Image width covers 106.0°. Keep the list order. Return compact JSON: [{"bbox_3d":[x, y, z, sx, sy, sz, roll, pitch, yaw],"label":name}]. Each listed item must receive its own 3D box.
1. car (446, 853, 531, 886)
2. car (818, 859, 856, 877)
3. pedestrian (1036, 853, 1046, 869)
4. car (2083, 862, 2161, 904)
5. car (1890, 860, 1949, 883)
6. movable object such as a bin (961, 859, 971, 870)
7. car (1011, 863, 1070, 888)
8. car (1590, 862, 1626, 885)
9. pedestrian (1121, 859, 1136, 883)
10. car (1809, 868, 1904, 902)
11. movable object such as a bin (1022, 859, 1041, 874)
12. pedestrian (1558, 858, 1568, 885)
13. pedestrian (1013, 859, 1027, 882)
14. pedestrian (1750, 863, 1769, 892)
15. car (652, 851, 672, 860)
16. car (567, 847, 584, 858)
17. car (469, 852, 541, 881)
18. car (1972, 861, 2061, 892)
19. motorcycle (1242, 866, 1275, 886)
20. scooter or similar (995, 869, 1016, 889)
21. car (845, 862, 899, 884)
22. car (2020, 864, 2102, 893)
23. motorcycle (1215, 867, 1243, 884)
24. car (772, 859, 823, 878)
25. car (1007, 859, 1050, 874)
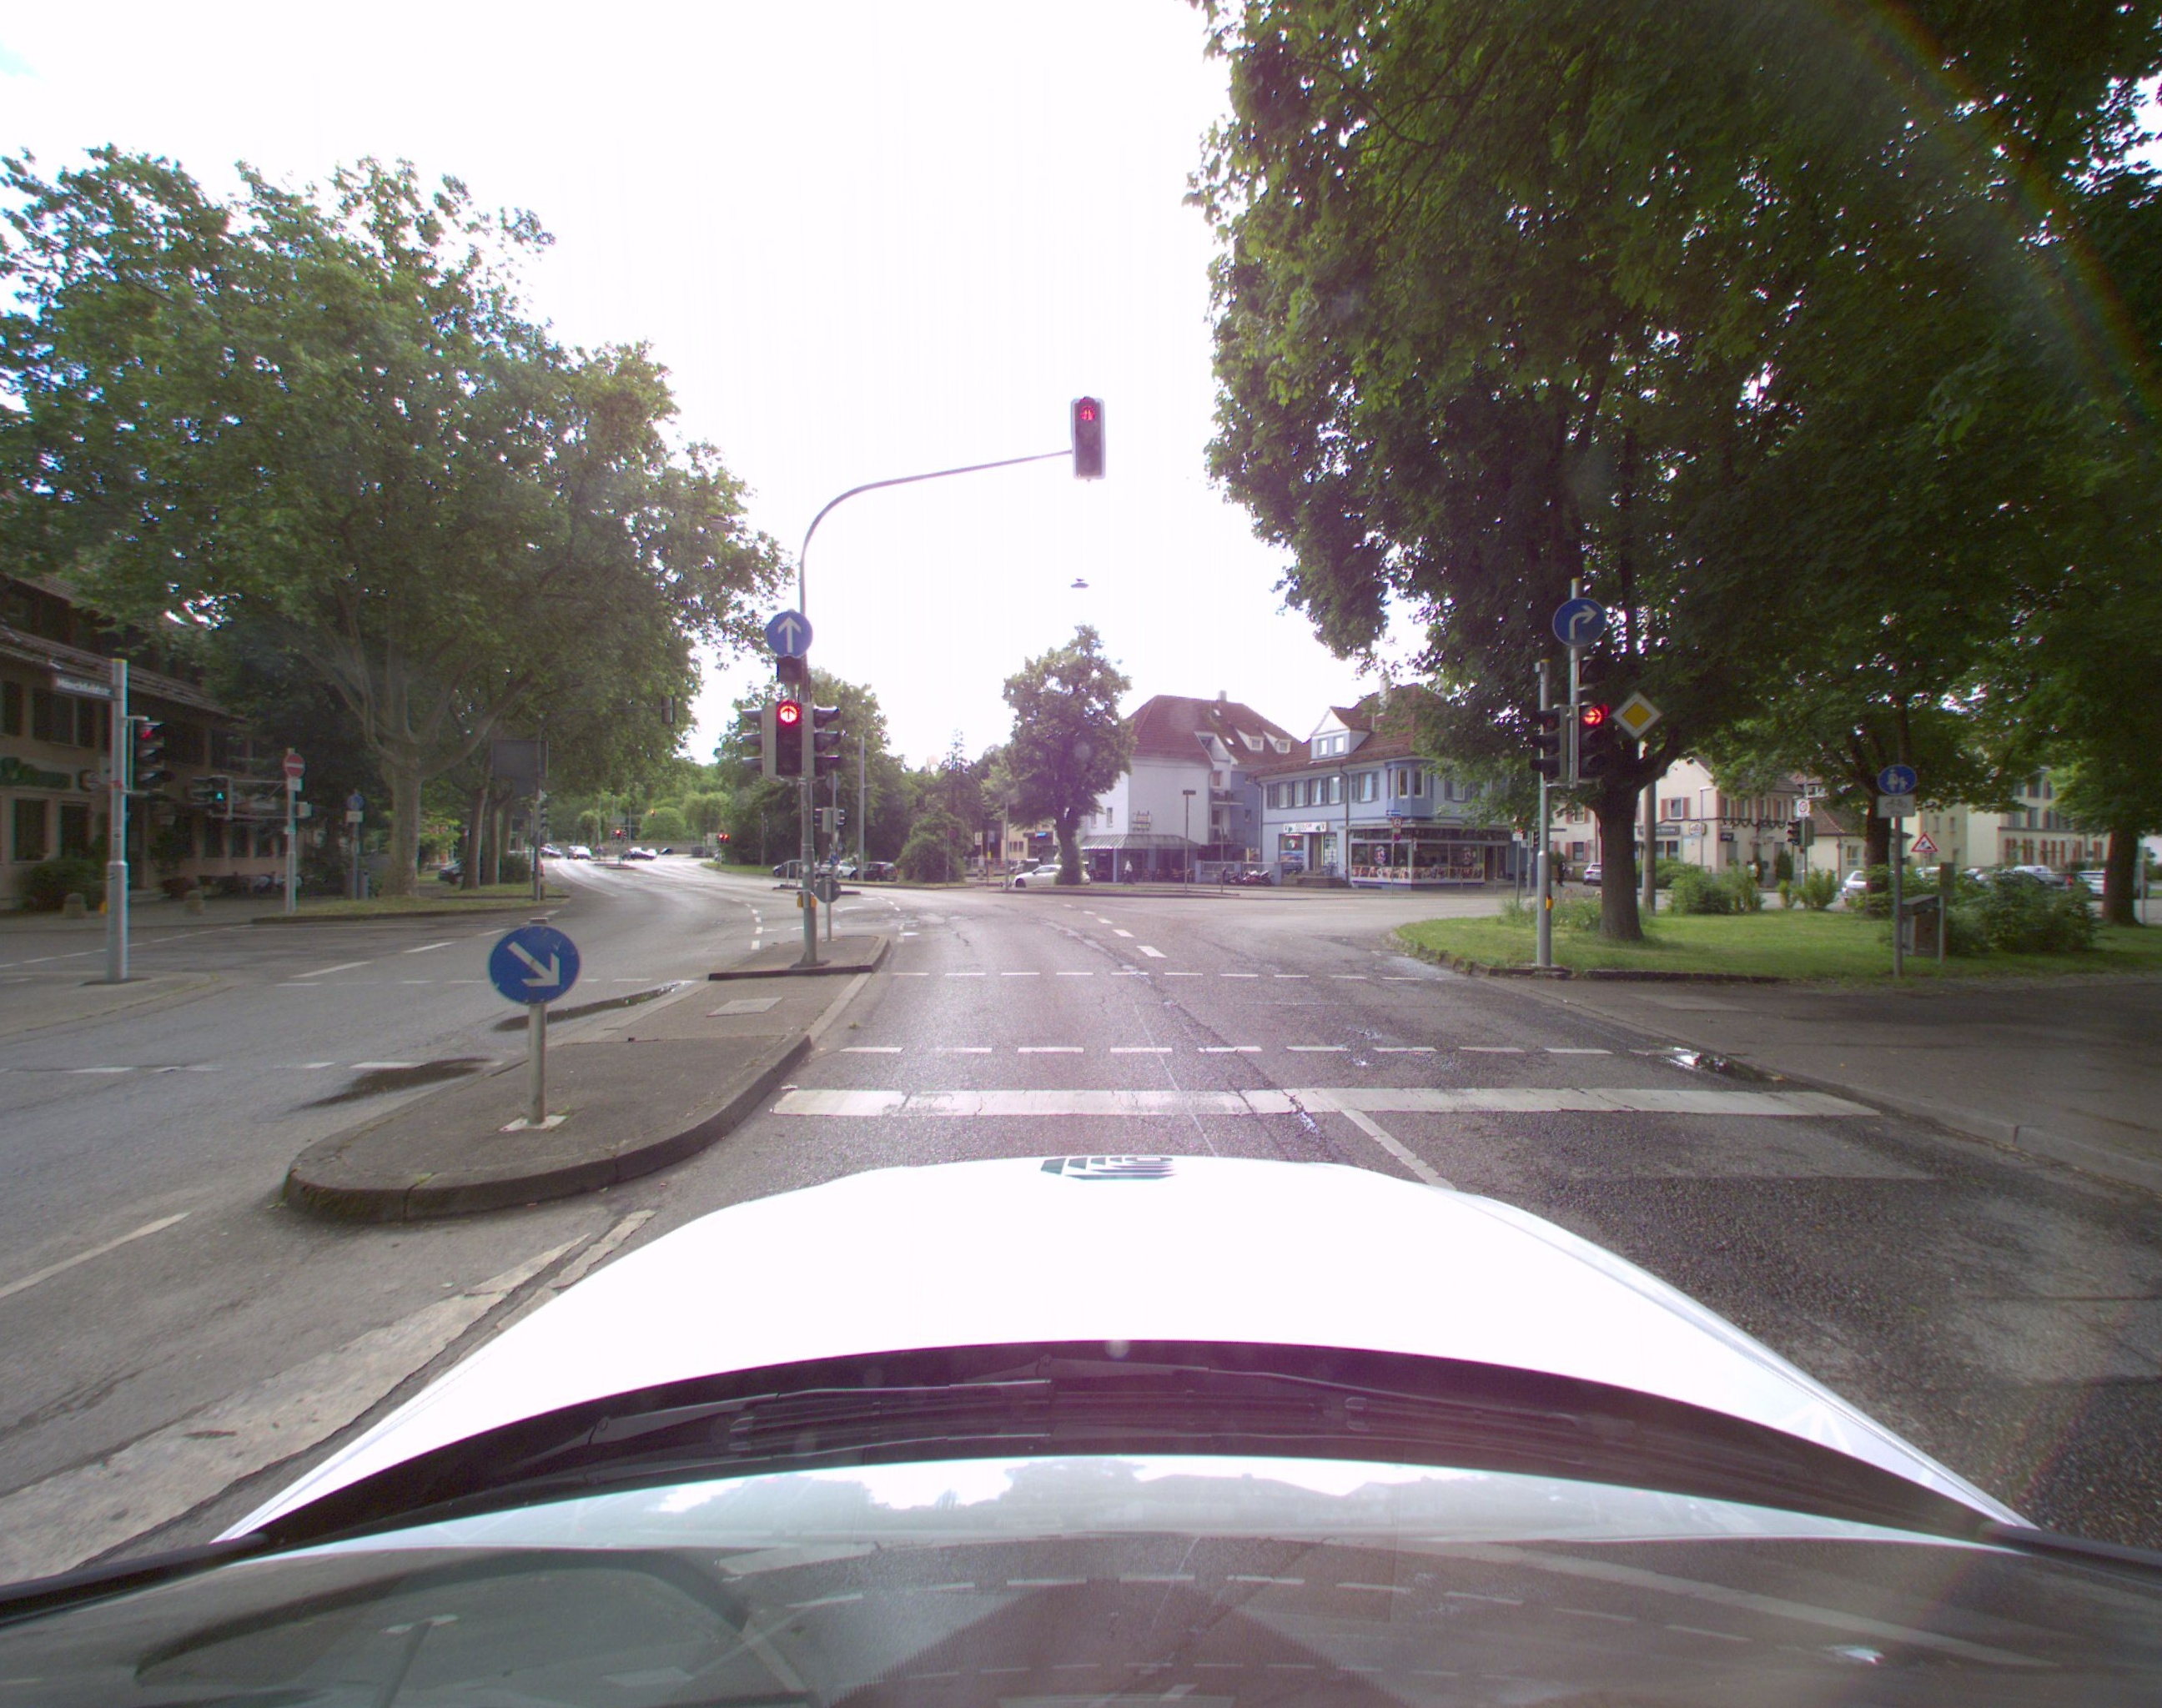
[{"bbox_3d":[-31.007,0.785,42.710,3.461,1.641,1.557,0,-1,-31],"label":"car"},{"bbox_3d":[-20.086,1.132,67.180,1.534,1.464,3.407,0,0,13],"label":"car"},{"bbox_3d":[-3.975,0.724,80.582,0.681,1.545,0.701,0,-1,-32],"label":"pedestrian"},{"bbox_3d":[52.826,1.439,41.122,4.004,2.014,1.770,0,-1,-23],"label":"car"},{"bbox_3d":[55.110,1.131,53.526,4.007,1.420,1.544,0,0,-26],"label":"car"},{"bbox_3d":[-12.229,1.122,86.633,0.953,1.115,0.381,0,-1,-19],"label":"movable object such as a bin"},{"bbox_3d":[-2.314,1.204,46.233,3.134,1.354,1.448,0,-1,36],"label":"car"},{"bbox_3d":[32.597,1.188,50.336,1.481,1.369,3.198,-1,-1,40],"label":"car"},{"bbox_3d":[3.082,1.109,52.938,0.759,1.545,0.682,-1,-1,41],"label":"pedestrian"},{"bbox_3d":[31.958,1.254,33.564,3.511,1.321,1.549,0,0,-22],"label":"car"},{"bbox_3d":[-4.530,1.136,74.243,1.447,1.409,0.959,0,-1,-25],"label":"movable object such as a bin"},{"bbox_3d":[27.655,1.008,46.703,0.454,1.517,0.591,-1,-1,27],"label":"pedestrian"},{"bbox_3d":[-4.318,1.160,57.486,0.699,1.545,0.682,-1,-1,42],"label":"pedestrian"},{"bbox_3d":[39.057,1.366,46.879,0.611,1.649,0.606,0,-1,-27],"label":"pedestrian"},{"bbox_3d":[-95.510,0.437,185.593,4.011,2.014,1.981,0,-1,-29],"label":"car"},{"bbox_3d":[-64.713,-0.196,104.194,1.440,1.416,2.838,0,-1,-39],"label":"car"},{"bbox_3d":[-35.490,0.757,50.276,3.461,1.742,1.557,0,-1,-31],"label":"car"},{"bbox_3d":[42.211,0.979,36.748,3.510,1.321,1.549,0,0,-21],"label":"car"},{"bbox_3d":[10.529,1.290,48.258,1.777,1.121,0.699,0,-1,40],"label":"motorcycle"},{"bbox_3d":[-3.983,1.292,42.876,0.413,1.011,1.575,-1,-1,22],"label":"scooter or similar"},{"bbox_3d":[-13.913,1.268,54.199,3.549,1.394,1.481,0,-1,34],"label":"car"},{"bbox_3d":[46.998,1.170,39.055,3.511,1.321,1.549,0,0,-22],"label":"car"},{"bbox_3d":[9.108,1.316,50.072,0.699,1.064,1.617,0,-1,-44],"label":"motorcycle"},{"bbox_3d":[-22.445,1.116,64.478,3.520,1.464,1.591,0,0,14],"label":"car"},{"bbox_3d":[-4.888,1.137,76.150,3.752,1.345,1.422,0,0,-25],"label":"car"}]
